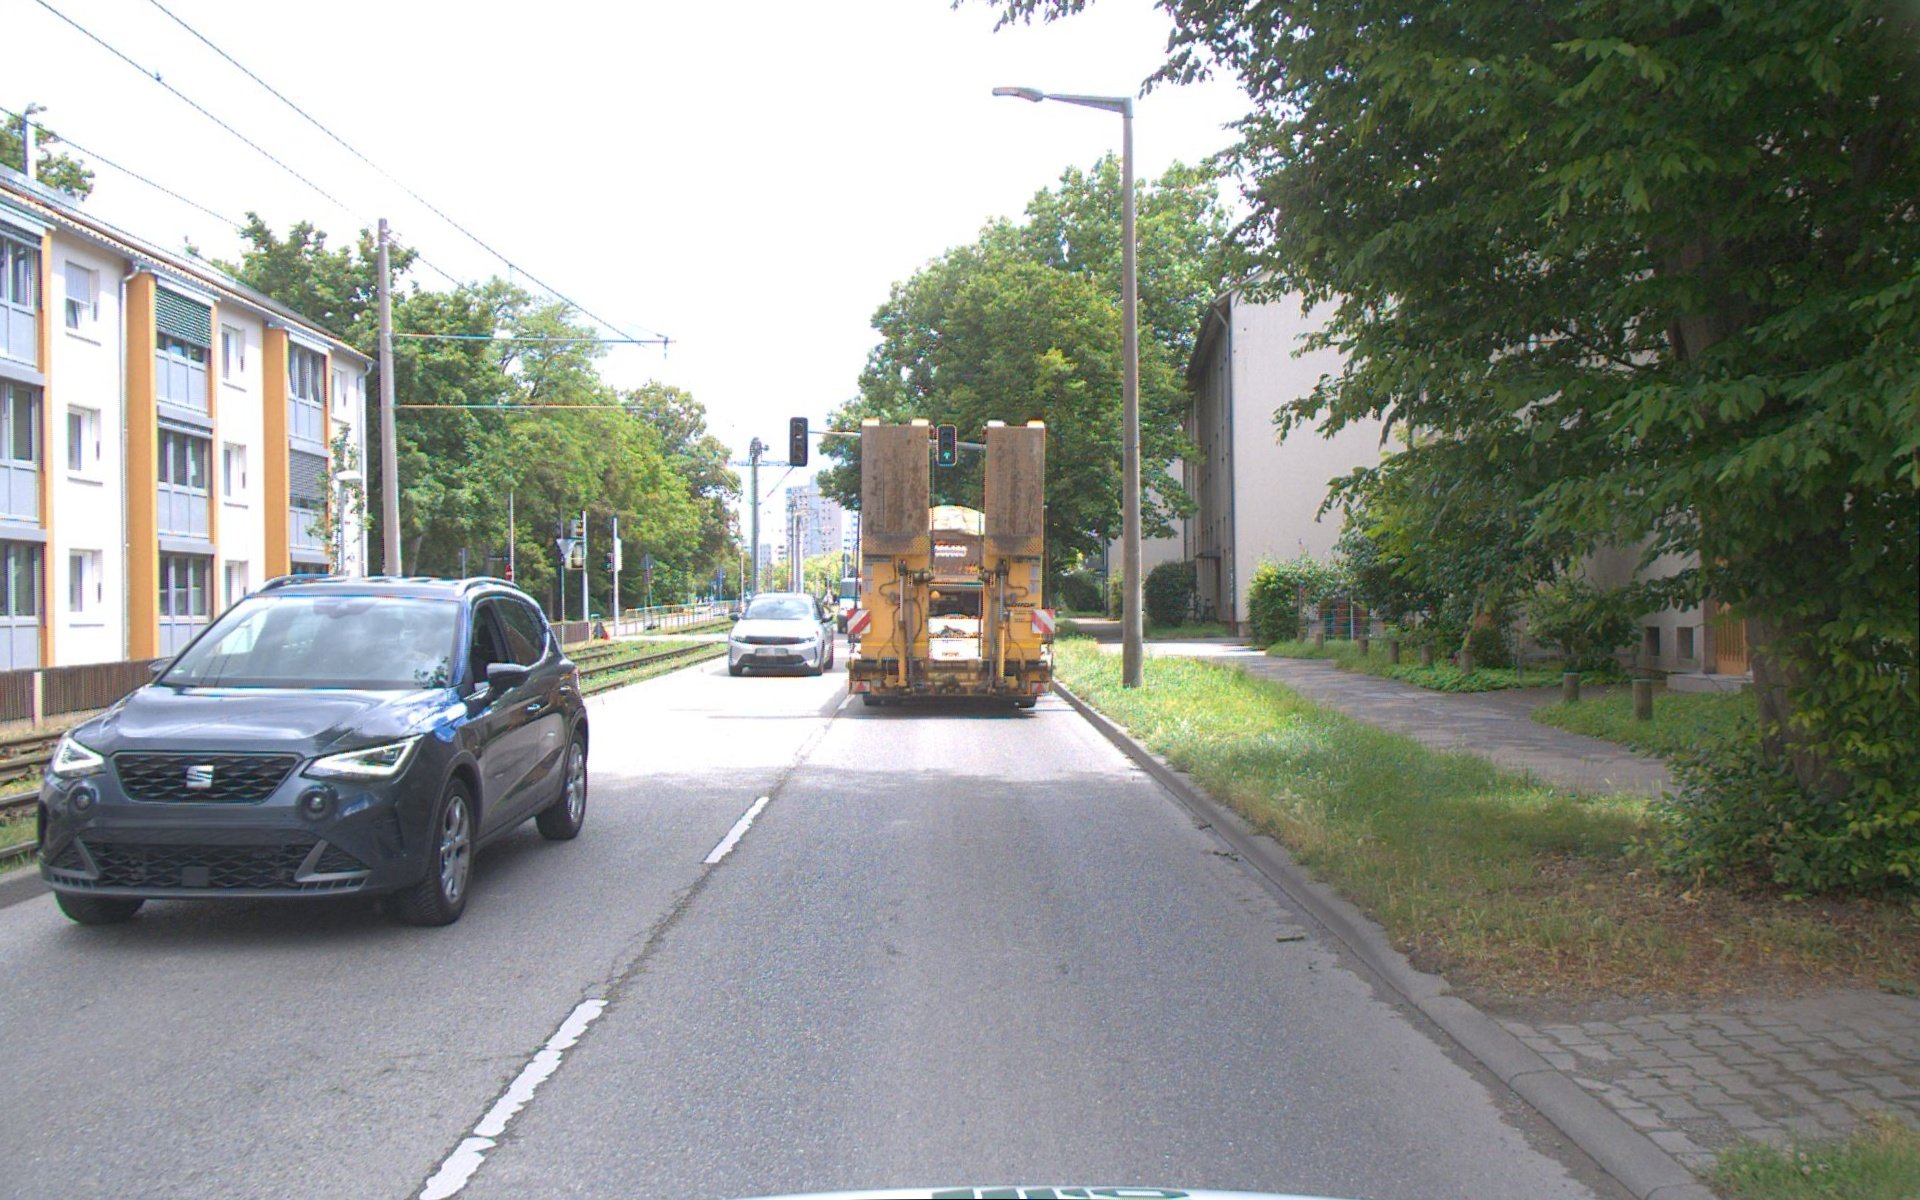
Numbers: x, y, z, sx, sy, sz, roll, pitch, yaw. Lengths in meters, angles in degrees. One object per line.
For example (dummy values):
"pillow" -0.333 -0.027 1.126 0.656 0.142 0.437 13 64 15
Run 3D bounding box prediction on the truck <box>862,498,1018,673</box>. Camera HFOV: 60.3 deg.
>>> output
"truck" -0.448 -0.287 34.624 2.858 3.222 7.678 1 0 -1

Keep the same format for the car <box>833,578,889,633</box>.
"car" -3.658 0.189 61.740 1.903 1.974 4.316 0 0 -1

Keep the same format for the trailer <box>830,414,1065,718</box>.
"trailer" -0.282 -0.425 25.271 2.765 3.585 11.048 1 0 -2

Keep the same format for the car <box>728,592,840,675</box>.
"car" -3.217 0.573 30.843 1.695 1.442 3.983 0 0 -1

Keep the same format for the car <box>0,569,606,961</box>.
"car" -3.019 0.644 8.488 1.617 1.547 3.865 0 0 -1
